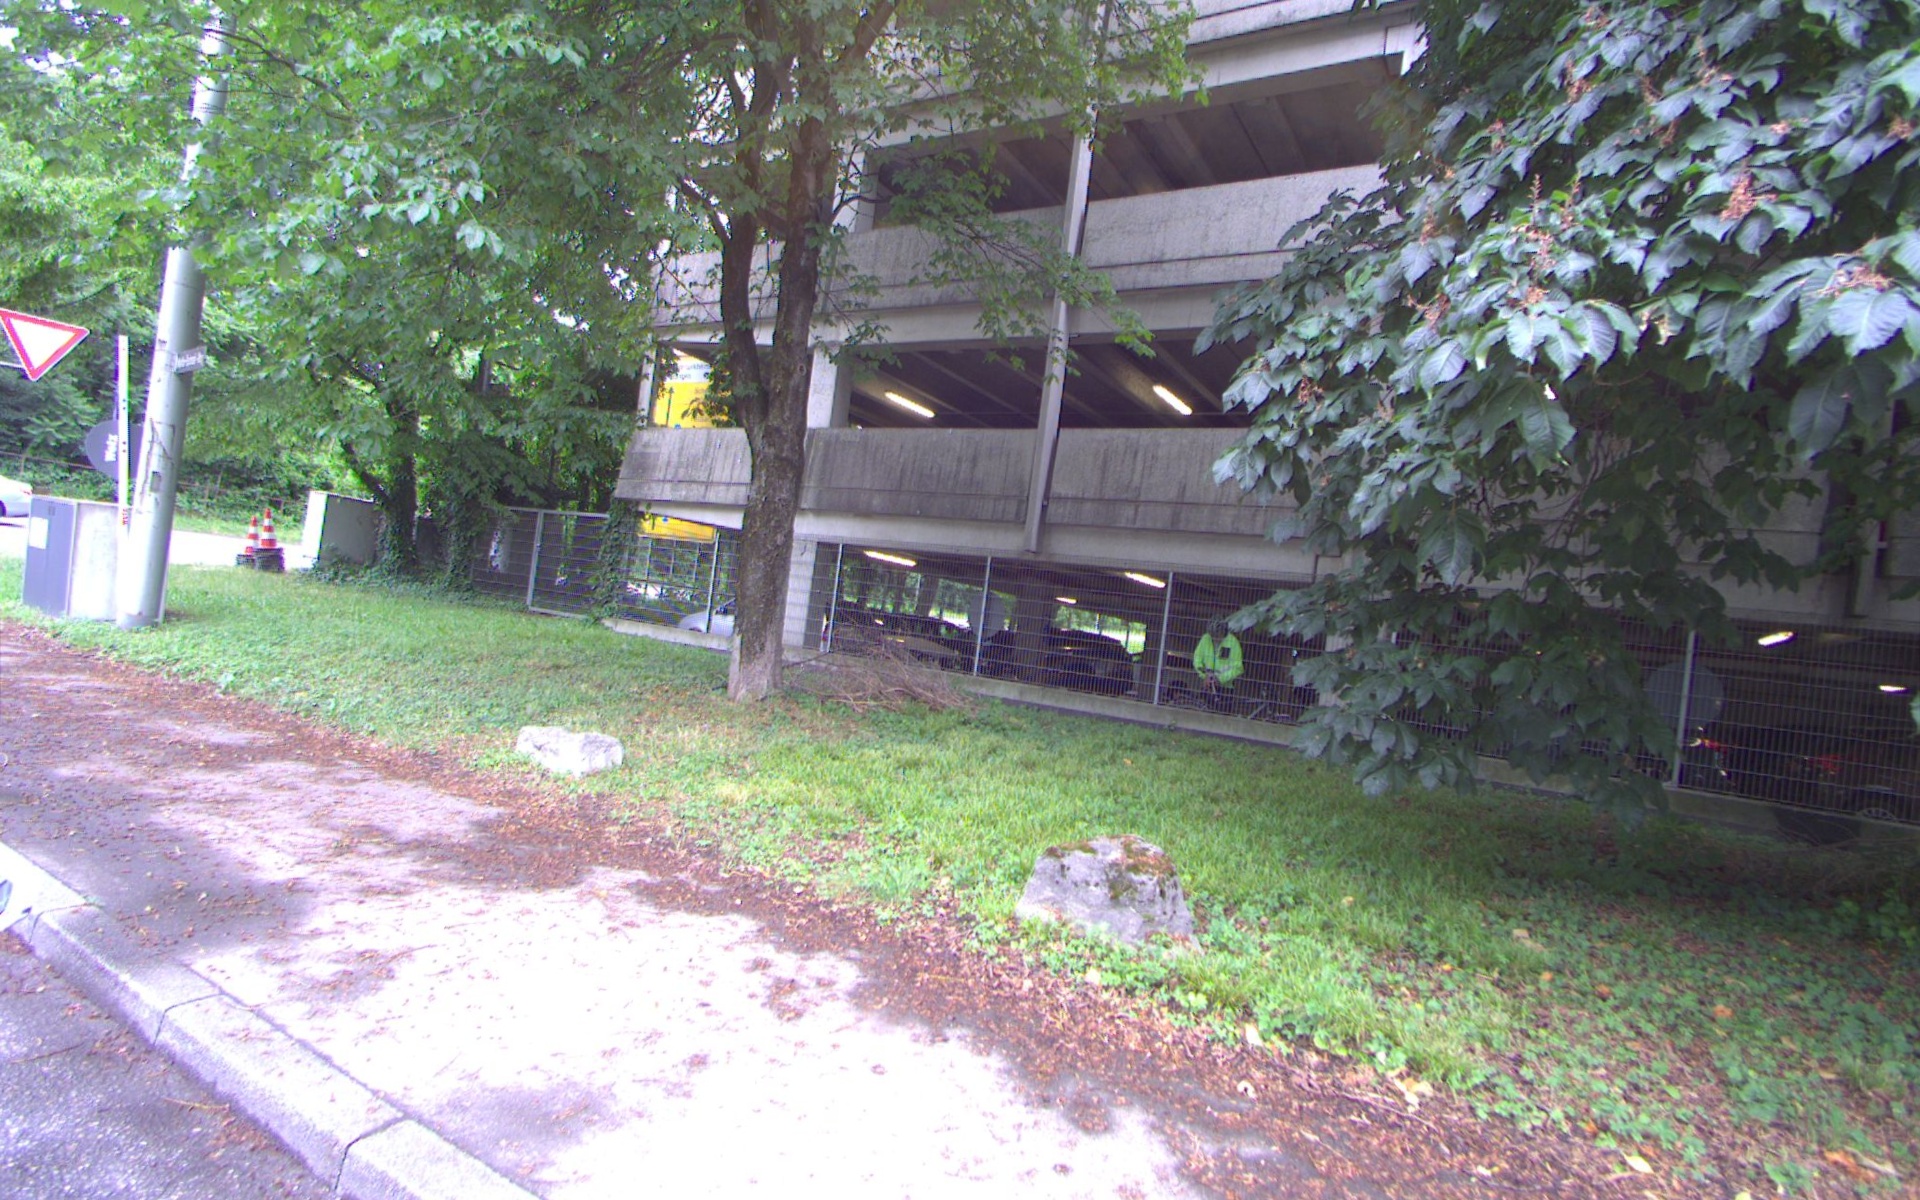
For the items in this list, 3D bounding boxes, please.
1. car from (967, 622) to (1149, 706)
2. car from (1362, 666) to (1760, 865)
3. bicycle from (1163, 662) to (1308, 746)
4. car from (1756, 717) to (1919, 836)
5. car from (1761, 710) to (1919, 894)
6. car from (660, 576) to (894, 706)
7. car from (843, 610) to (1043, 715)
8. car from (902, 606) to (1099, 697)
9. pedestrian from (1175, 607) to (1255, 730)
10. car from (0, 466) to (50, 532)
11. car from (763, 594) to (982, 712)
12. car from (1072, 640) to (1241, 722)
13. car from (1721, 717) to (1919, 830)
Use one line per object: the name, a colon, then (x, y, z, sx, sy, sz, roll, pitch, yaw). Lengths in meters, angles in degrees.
car: (2.432, 1.596, 25.160, 3.934, 1.569, 1.998, 5, -3, 32)
car: (8.619, 2.290, 14.843, 4.597, 2.036, 1.998, 5, -3, 31)
bicycle: (3.117, 1.166, 11.387, 1.469, 0.744, 0.448, 6, -3, 24)
car: (15.609, 2.990, 16.523, 3.640, 1.625, 1.721, 5, -3, 30)
car: (12.669, 2.655, 12.475, 3.935, 2.036, 1.997, 5, -3, 33)
car: (-3.114, 0.659, 16.906, 3.658, 1.727, 1.484, 5, -3, 32)
car: (-0.374, 1.282, 20.888, 3.658, 1.682, 1.734, 5, -3, 32)
car: (0.923, 1.179, 23.225, 3.934, 1.569, 1.998, 5, -3, 32)
pedestrian: (2.978, 0.804, 11.727, 0.626, 1.332, 0.642, 5, -3, 31)
car: (-23.612, -2.634, 22.241, 1.802, 1.349, 4.762, 10, -1, 30)
car: (-1.668, 0.974, 18.832, 3.707, 1.727, 1.584, 5, -3, 32)
car: (6.138, 2.521, 31.561, 4.658, 1.855, 1.923, 6, -3, 33)
car: (16.599, 3.242, 18.657, 3.640, 1.625, 1.721, 5, -3, 30)
